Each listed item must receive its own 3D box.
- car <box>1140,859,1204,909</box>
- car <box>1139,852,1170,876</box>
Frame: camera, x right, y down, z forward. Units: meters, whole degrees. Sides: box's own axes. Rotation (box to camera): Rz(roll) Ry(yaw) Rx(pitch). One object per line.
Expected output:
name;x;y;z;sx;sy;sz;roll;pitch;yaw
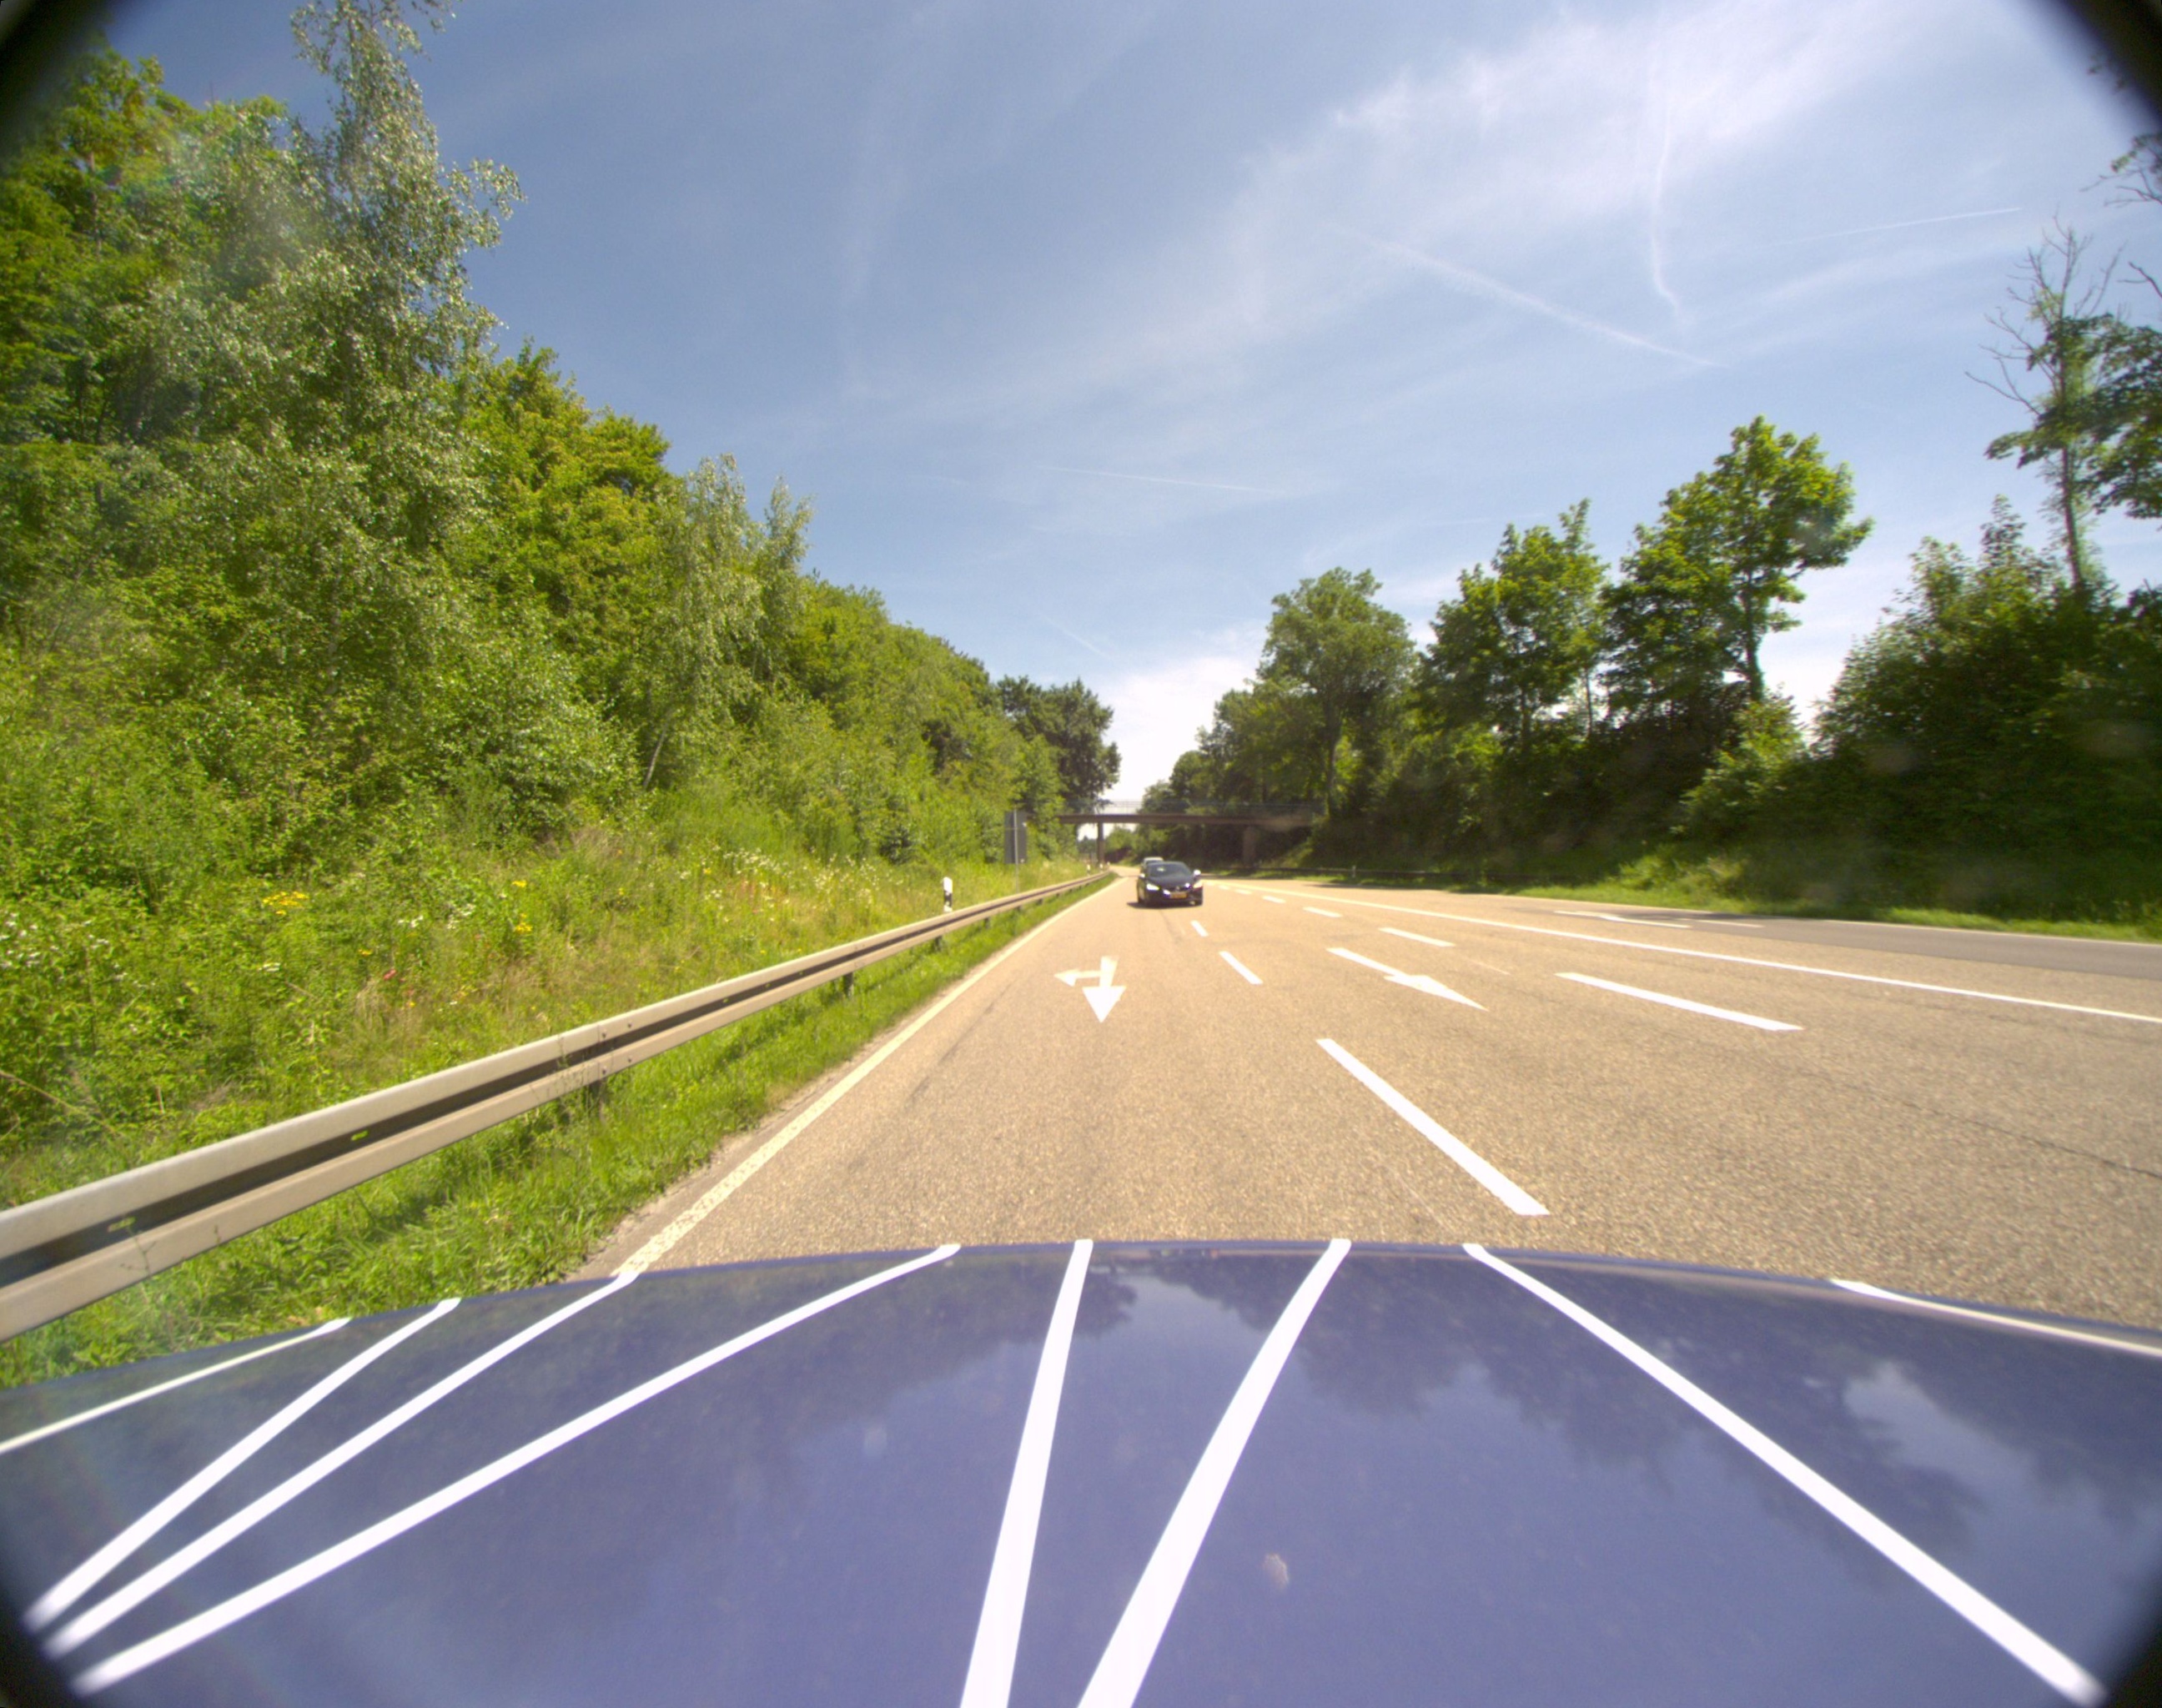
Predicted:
car;2.898;0.924;24.973;1.690;1.390;4.403;-1;1;2
car;5.401;0.742;56.031;1.809;1.660;4.292;-3;0;0
